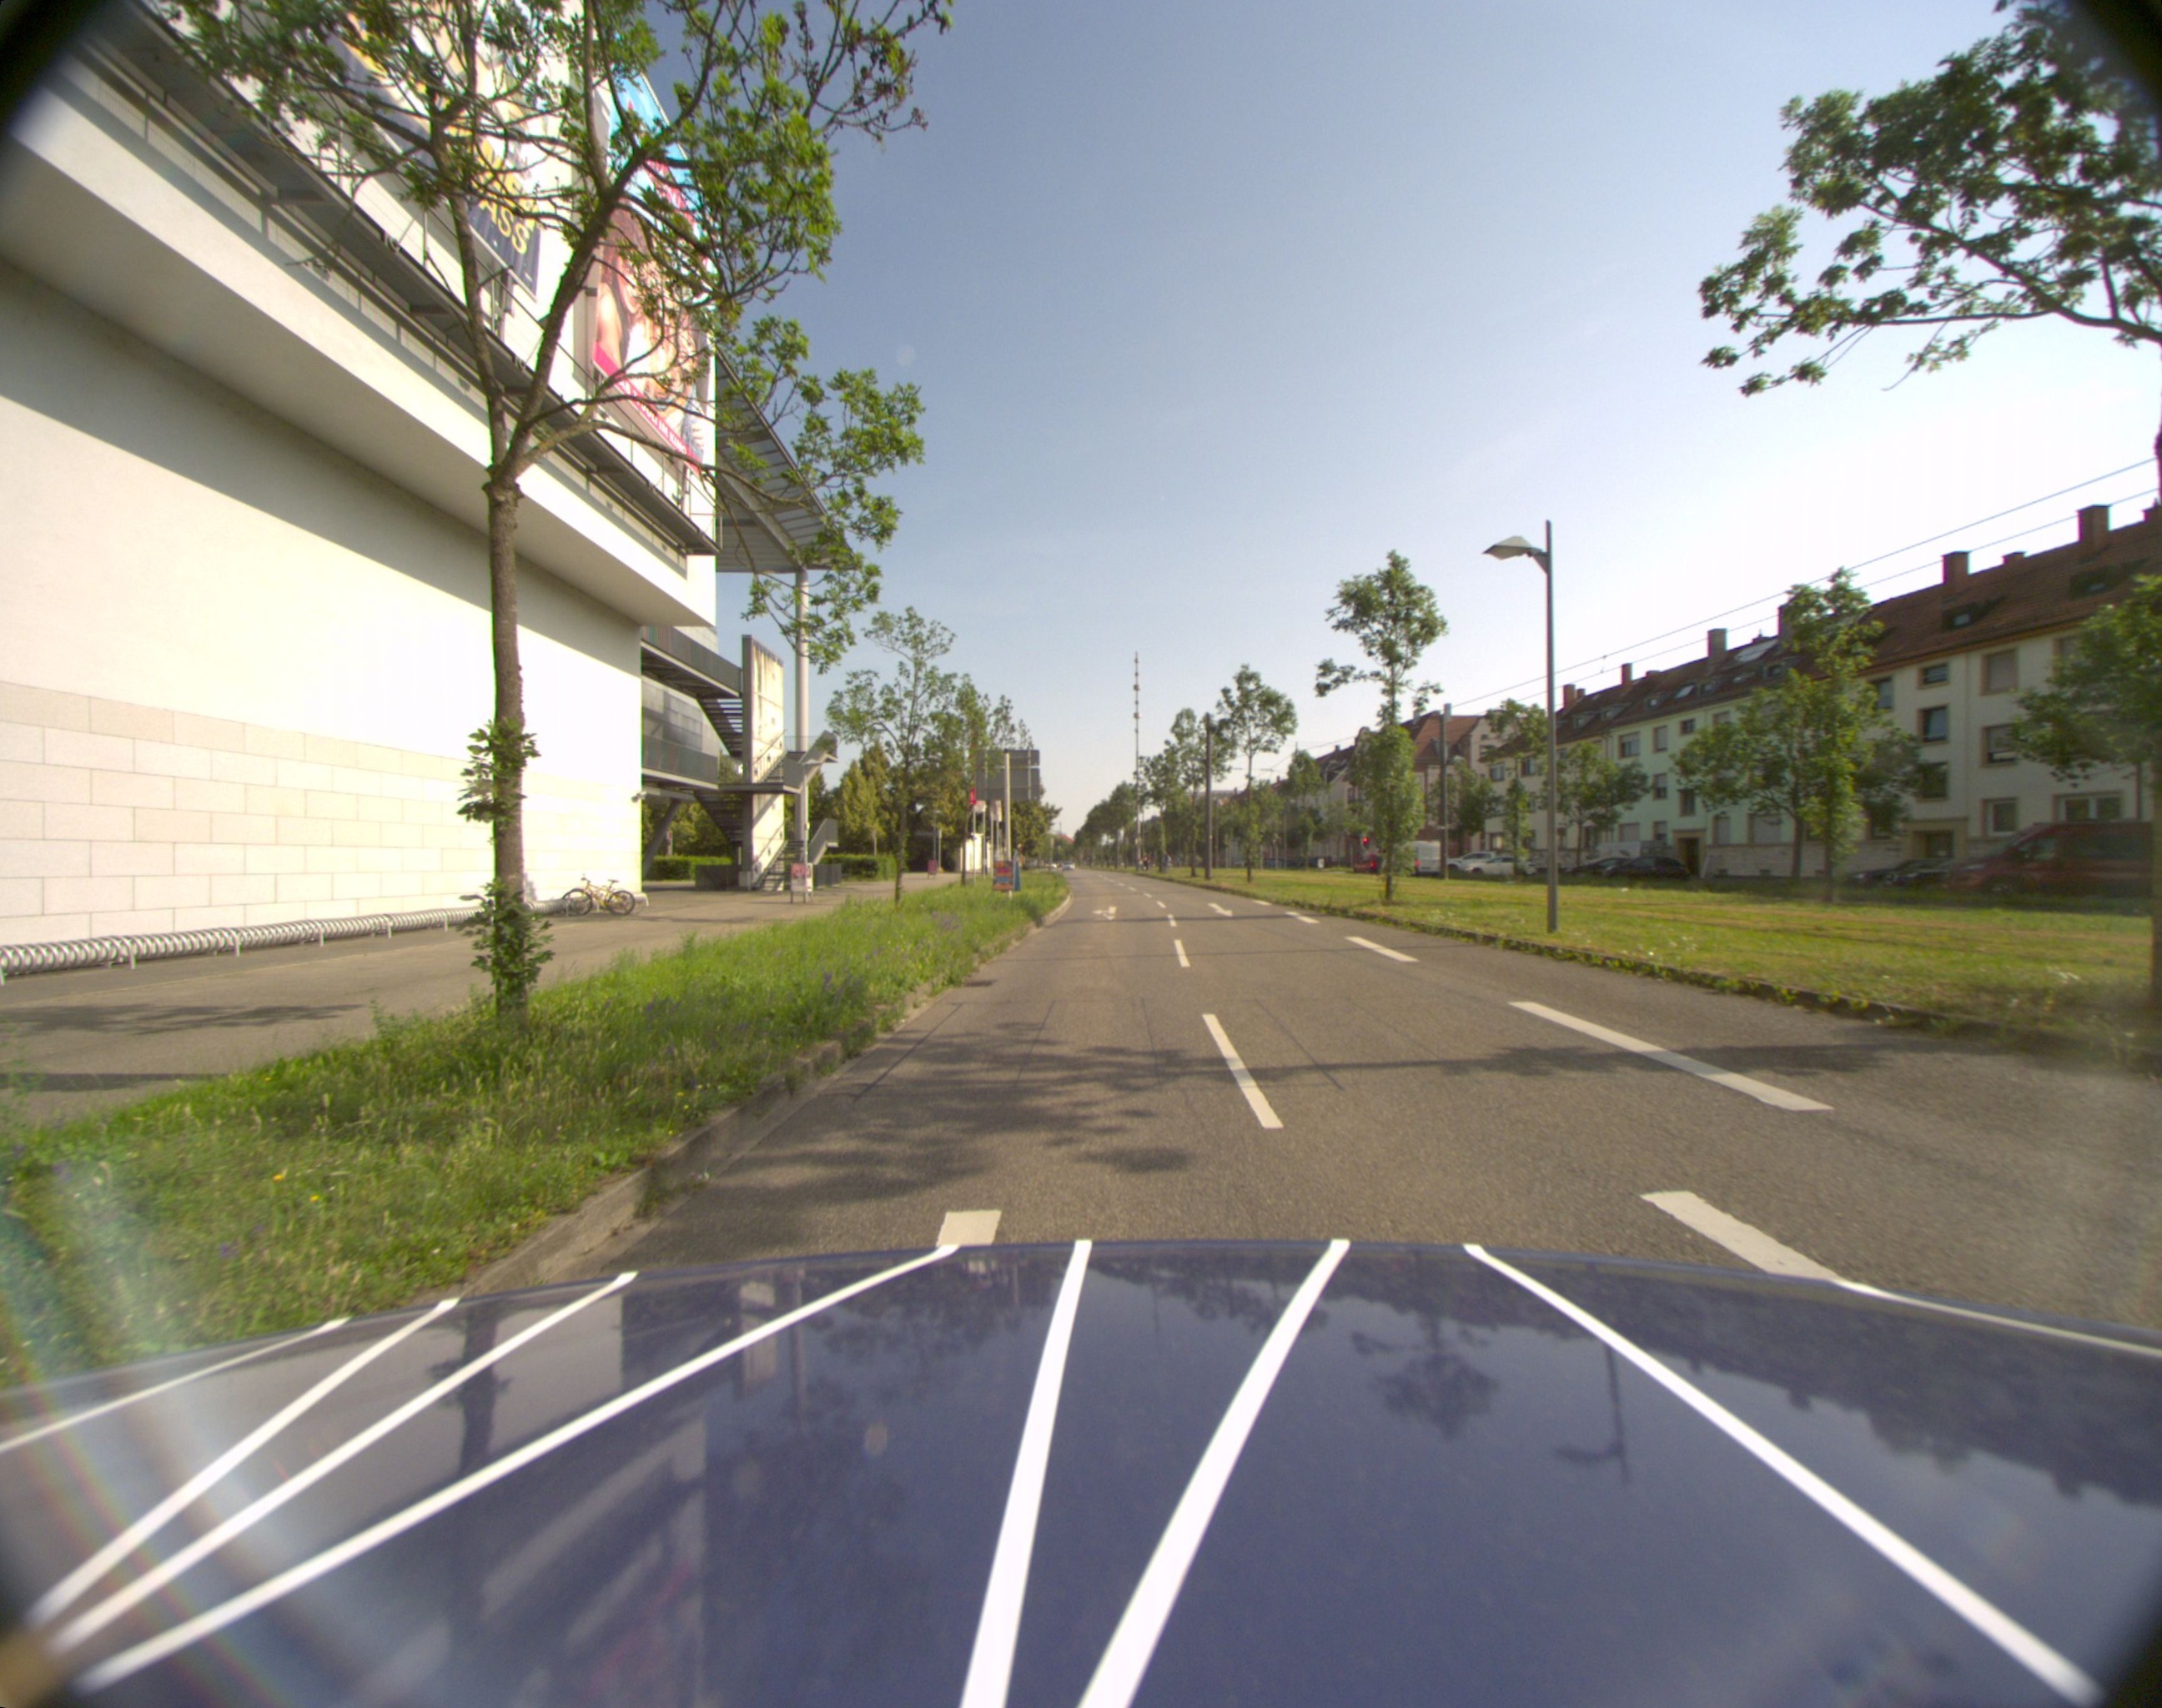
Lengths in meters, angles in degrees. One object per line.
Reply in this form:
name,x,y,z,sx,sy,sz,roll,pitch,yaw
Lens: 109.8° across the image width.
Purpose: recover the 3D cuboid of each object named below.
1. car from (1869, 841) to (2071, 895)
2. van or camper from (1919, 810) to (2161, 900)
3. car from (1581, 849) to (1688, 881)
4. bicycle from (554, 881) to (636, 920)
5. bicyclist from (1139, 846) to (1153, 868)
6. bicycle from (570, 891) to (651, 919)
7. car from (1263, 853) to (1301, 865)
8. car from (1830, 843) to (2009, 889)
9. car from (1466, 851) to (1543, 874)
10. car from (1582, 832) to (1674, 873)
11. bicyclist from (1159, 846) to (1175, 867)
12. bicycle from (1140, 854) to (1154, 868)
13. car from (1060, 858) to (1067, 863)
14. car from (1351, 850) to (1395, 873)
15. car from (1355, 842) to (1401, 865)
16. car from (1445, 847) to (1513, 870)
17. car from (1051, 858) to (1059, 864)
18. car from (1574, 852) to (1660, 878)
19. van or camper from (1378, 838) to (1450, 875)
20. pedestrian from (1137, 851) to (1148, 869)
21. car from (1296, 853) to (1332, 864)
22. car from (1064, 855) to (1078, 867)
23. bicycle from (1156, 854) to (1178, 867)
car,30.023,0.479,25.882,4.142,1.607,1.872,-1,3,36
van or camper,30.081,0.028,22.853,6.145,2.532,2.419,-1,0,34
car,28.630,0.576,39.393,4.338,1.521,2.004,-2,1,37
bicycle,-11.728,1.120,18.357,1.661,0.910,0.482,0,0,-2
bicyclist,5.572,0.255,64.886,0.906,1.812,0.872,0,1,28
bicycle,-11.772,1.272,19.031,1.661,0.641,0.538,0,0,-2
car,26.545,0.702,100.435,4.504,1.432,2.003,-2,0,29
car,30.727,0.446,28.049,4.142,1.501,1.872,-1,3,36
car,28.835,0.590,51.803,4.354,1.466,1.861,-2,1,35
car,35.918,-0.113,50.120,1.999,2.449,5.577,-2,0,-1
bicyclist,7.646,0.218,67.691,1.186,1.840,0.911,-2,1,16
bicycle,5.607,0.591,64.856,0.575,1.139,1.756,0,0,27
car,-5.273,1.965,226.775,1.999,1.652,3.999,0,0,-2
car,23.109,0.592,60.350,1.820,1.727,4.160,1,0,-1
car,34.228,-0.061,87.941,2.355,2.549,6.505,-2,0,-4
car,28.639,0.334,54.692,4.088,1.520,1.816,-2,1,35
car,-6.552,1.759,190.266,1.999,1.652,3.999,0,0,-2
car,29.477,0.609,41.839,3.767,1.335,1.776,-2,0,35
van or camper,23.189,0.161,53.294,2.147,2.459,6.057,1,0,-2
pedestrian,5.375,0.540,66.455,0.610,1.594,0.737,0,0,37
car,27.800,0.515,90.598,3.840,1.121,1.772,-2,0,29
car,-1.588,1.045,114.208,1.999,1.652,3.999,0,0,-2
bicycle,7.652,0.558,67.649,1.790,1.139,0.577,-2,1,15
